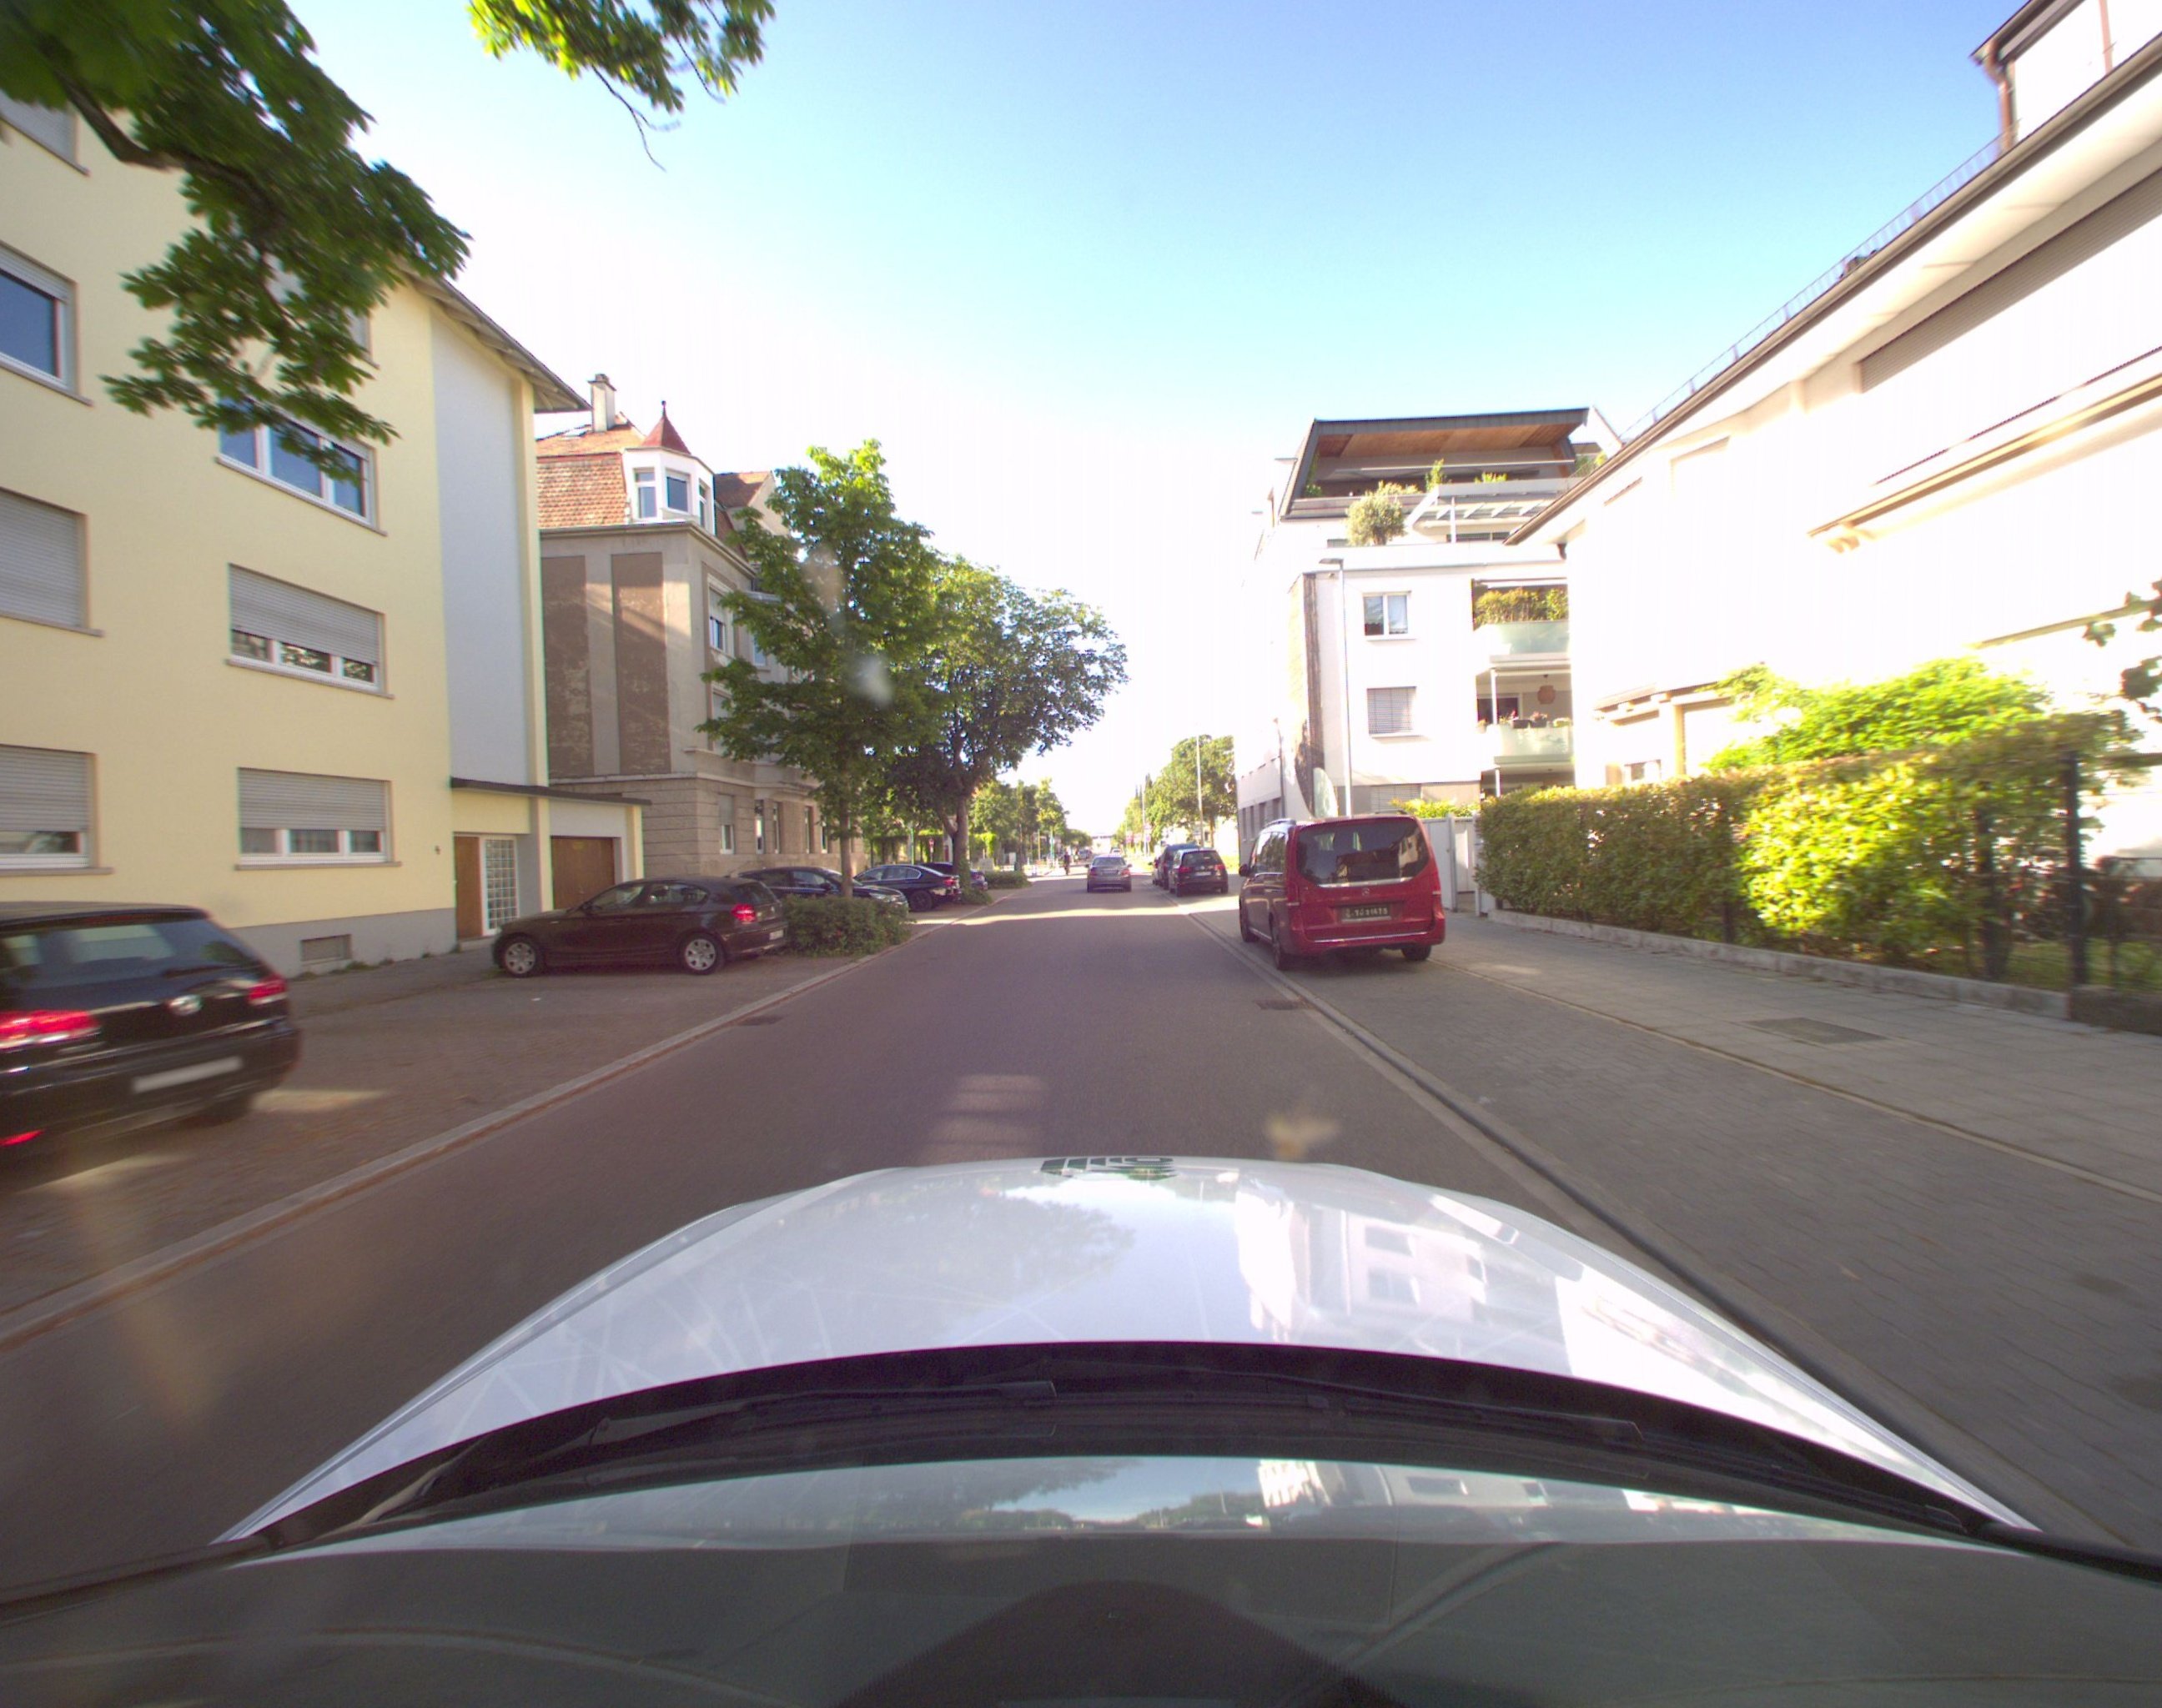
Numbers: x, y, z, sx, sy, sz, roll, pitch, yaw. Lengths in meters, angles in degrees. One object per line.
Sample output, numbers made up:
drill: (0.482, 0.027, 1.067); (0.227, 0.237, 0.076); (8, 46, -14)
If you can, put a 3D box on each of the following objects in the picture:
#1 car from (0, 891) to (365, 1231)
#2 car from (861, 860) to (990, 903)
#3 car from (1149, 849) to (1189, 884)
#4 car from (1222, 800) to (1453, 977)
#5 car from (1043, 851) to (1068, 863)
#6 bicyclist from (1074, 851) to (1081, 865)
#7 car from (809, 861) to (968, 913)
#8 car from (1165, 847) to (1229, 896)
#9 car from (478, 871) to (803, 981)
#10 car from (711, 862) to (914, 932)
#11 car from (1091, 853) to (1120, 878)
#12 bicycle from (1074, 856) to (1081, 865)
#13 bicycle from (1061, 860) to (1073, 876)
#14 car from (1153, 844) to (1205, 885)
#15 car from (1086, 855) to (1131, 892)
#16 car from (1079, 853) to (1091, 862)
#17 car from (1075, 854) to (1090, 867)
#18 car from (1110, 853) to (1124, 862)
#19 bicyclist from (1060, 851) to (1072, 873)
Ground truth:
car: (-6.762, 0.967, 4.470); (4.010, 1.444, 1.799); (0, -1, 0)
car: (-5.747, 1.010, 30.491); (4.460, 1.479, 1.868); (-1, -1, -1)
car: (4.133, 0.603, 38.676); (1.558, 1.410, 3.732); (-6, -1, 3)
car: (3.366, 0.419, 11.868); (1.864, 1.905, 5.201); (-3, -1, 3)
car: (-3.616, 0.433, 115.713); (3.488, 1.533, 1.642); (-2, 0, -5)
bicyclist: (-0.392, 0.400, 89.838); (0.678, 1.509, 0.655); (-3, 0, 3)
car: (-5.880, 1.002, 25.325); (4.460, 1.479, 1.868); (-1, -1, -1)
car: (3.997, 0.563, 28.552); (1.730, 1.531, 4.180); (-2, 0, 2)
car: (-6.612, 1.050, 12.553); (3.973, 1.421, 1.771); (-1, 1, 0)
car: (-6.167, 0.963, 19.167); (4.167, 1.500, 1.996); (0, -1, -6)
car: (1.476, 0.704, 50.041); (1.701, 1.448, 4.203); (0, -1, 1)
bicycle: (-0.365, 0.745, 89.830); (0.586, 0.931, 1.851); (-3, 0, 3)
bicycle: (-1.026, 1.020, 59.067); (0.716, 1.079, 1.892); (-3, 0, 2)
car: (4.069, 0.442, 34.312); (1.676, 1.435, 4.267); (-6, -1, 2)
car: (1.140, 0.793, 33.294); (1.719, 1.420, 3.963); (0, -1, 3)
car: (0.714, 0.640, 144.262); (1.783, 1.532, 3.995); (-3, -1, -3)
car: (0.202, 0.962, 121.128); (1.868, 1.728, 3.996); (-3, 0, -3)
car: (5.415, 0.524, 123.562); (1.718, 1.330, 3.996); (-2, 0, -3)
bicyclist: (-1.065, 0.596, 59.091); (0.718, 1.537, 1.137); (-3, 0, 2)
